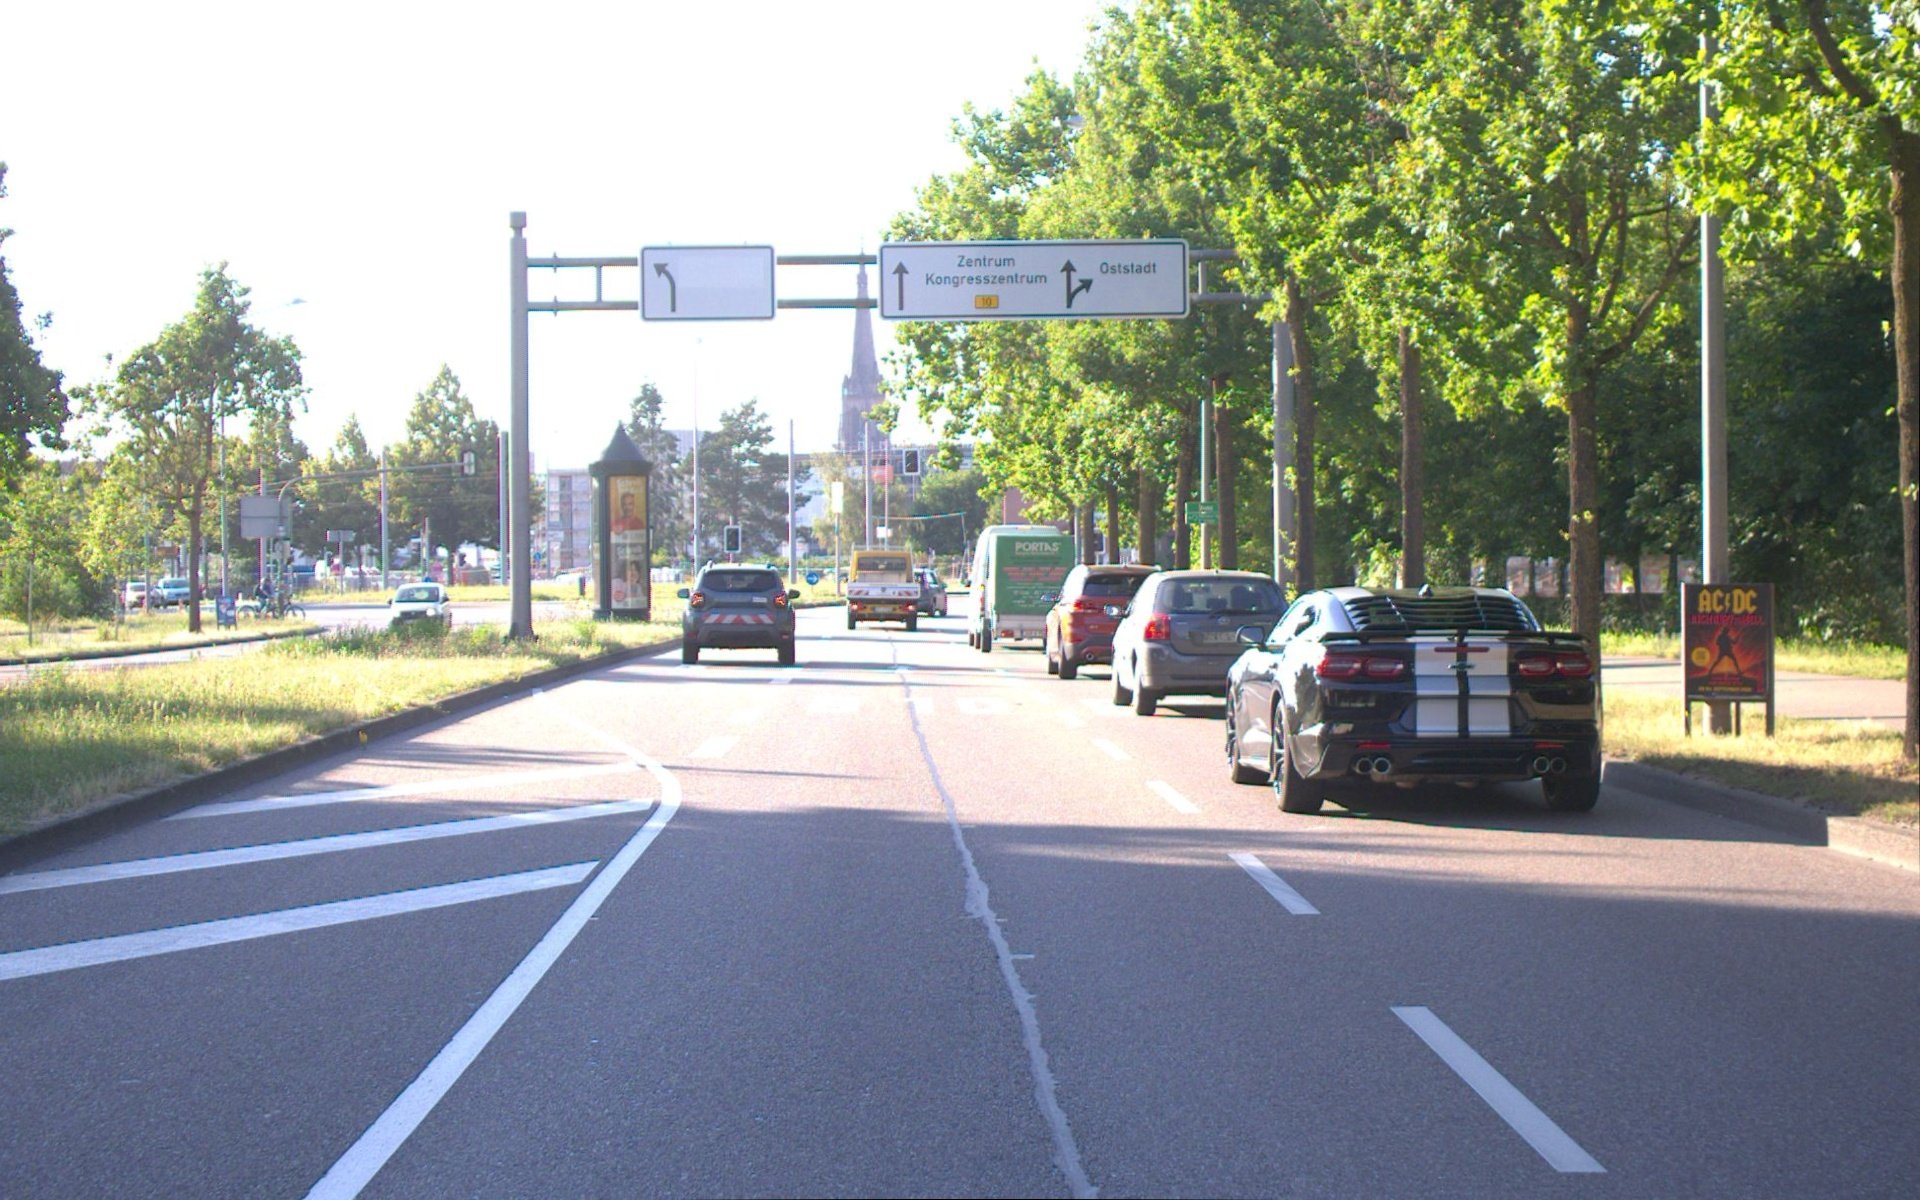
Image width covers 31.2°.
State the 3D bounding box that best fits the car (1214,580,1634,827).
[{"bbox_3d":[2.770,0.567,21.571,1.854,1.333,4.625,0,1,-2],"label":"car"}]

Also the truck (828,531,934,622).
[{"bbox_3d":[-2.364,-0.701,100.720,2.580,2.549,6.253,-1,1,-6],"label":"truck"}]

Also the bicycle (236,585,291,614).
[{"bbox_3d":[-25.247,-0.017,124.580,1.909,1.016,0.504,1,0,14],"label":"bicycle"}]

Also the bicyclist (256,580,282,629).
[{"bbox_3d":[-25.263,0.164,125.722,0.813,1.783,0.496,1,0,7],"label":"bicyclist"}]

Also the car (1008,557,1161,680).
[{"bbox_3d":[1.728,0.227,48.860,1.747,1.615,3.820,1,1,-4],"label":"car"}]

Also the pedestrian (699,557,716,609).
[{"bbox_3d":[-9.011,-0.587,122.523,0.486,1.838,0.719,-1,0,2],"label":"pedestrian"}]

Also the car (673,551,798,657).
[{"bbox_3d":[-3.715,0.054,56.314,1.905,1.654,4.001,-1,0,-6],"label":"car"}]

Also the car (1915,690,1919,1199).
[{"bbox_3d":[3.075,0.598,5.115,1.955,1.721,4.699,1,0,0],"label":"car"}]

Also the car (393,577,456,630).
[{"bbox_3d":[-16.049,0.090,103.180,1.562,1.569,3.413,-1,0,-4],"label":"car"}]

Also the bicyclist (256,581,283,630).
[{"bbox_3d":[-25.020,0.204,124.527,0.813,1.764,0.496,1,0,14],"label":"bicyclist"}]

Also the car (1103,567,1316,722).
[{"bbox_3d":[2.527,0.418,35.652,1.747,1.468,3.820,-1,1,-3],"label":"car"}]

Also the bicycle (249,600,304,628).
[{"bbox_3d":[-25.004,0.507,125.708,1.909,1.016,0.504,1,0,6],"label":"bicycle"}]

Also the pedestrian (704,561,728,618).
[{"bbox_3d":[-8.717,-0.377,122.877,0.789,2.007,0.701,0,1,-7],"label":"pedestrian"}]

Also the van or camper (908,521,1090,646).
[{"bbox_3d":[0.779,-0.406,75.565,2.284,2.620,6.585,0,1,-15],"label":"van or camper"}]

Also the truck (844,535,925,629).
[{"bbox_3d":[-2.229,-0.547,100.265,2.219,2.642,4.774,-1,1,-3],"label":"truck"}]

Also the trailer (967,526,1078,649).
[{"bbox_3d":[1.242,-0.262,69.630,2.090,2.392,3.501,1,1,-1],"label":"trailer"}]
